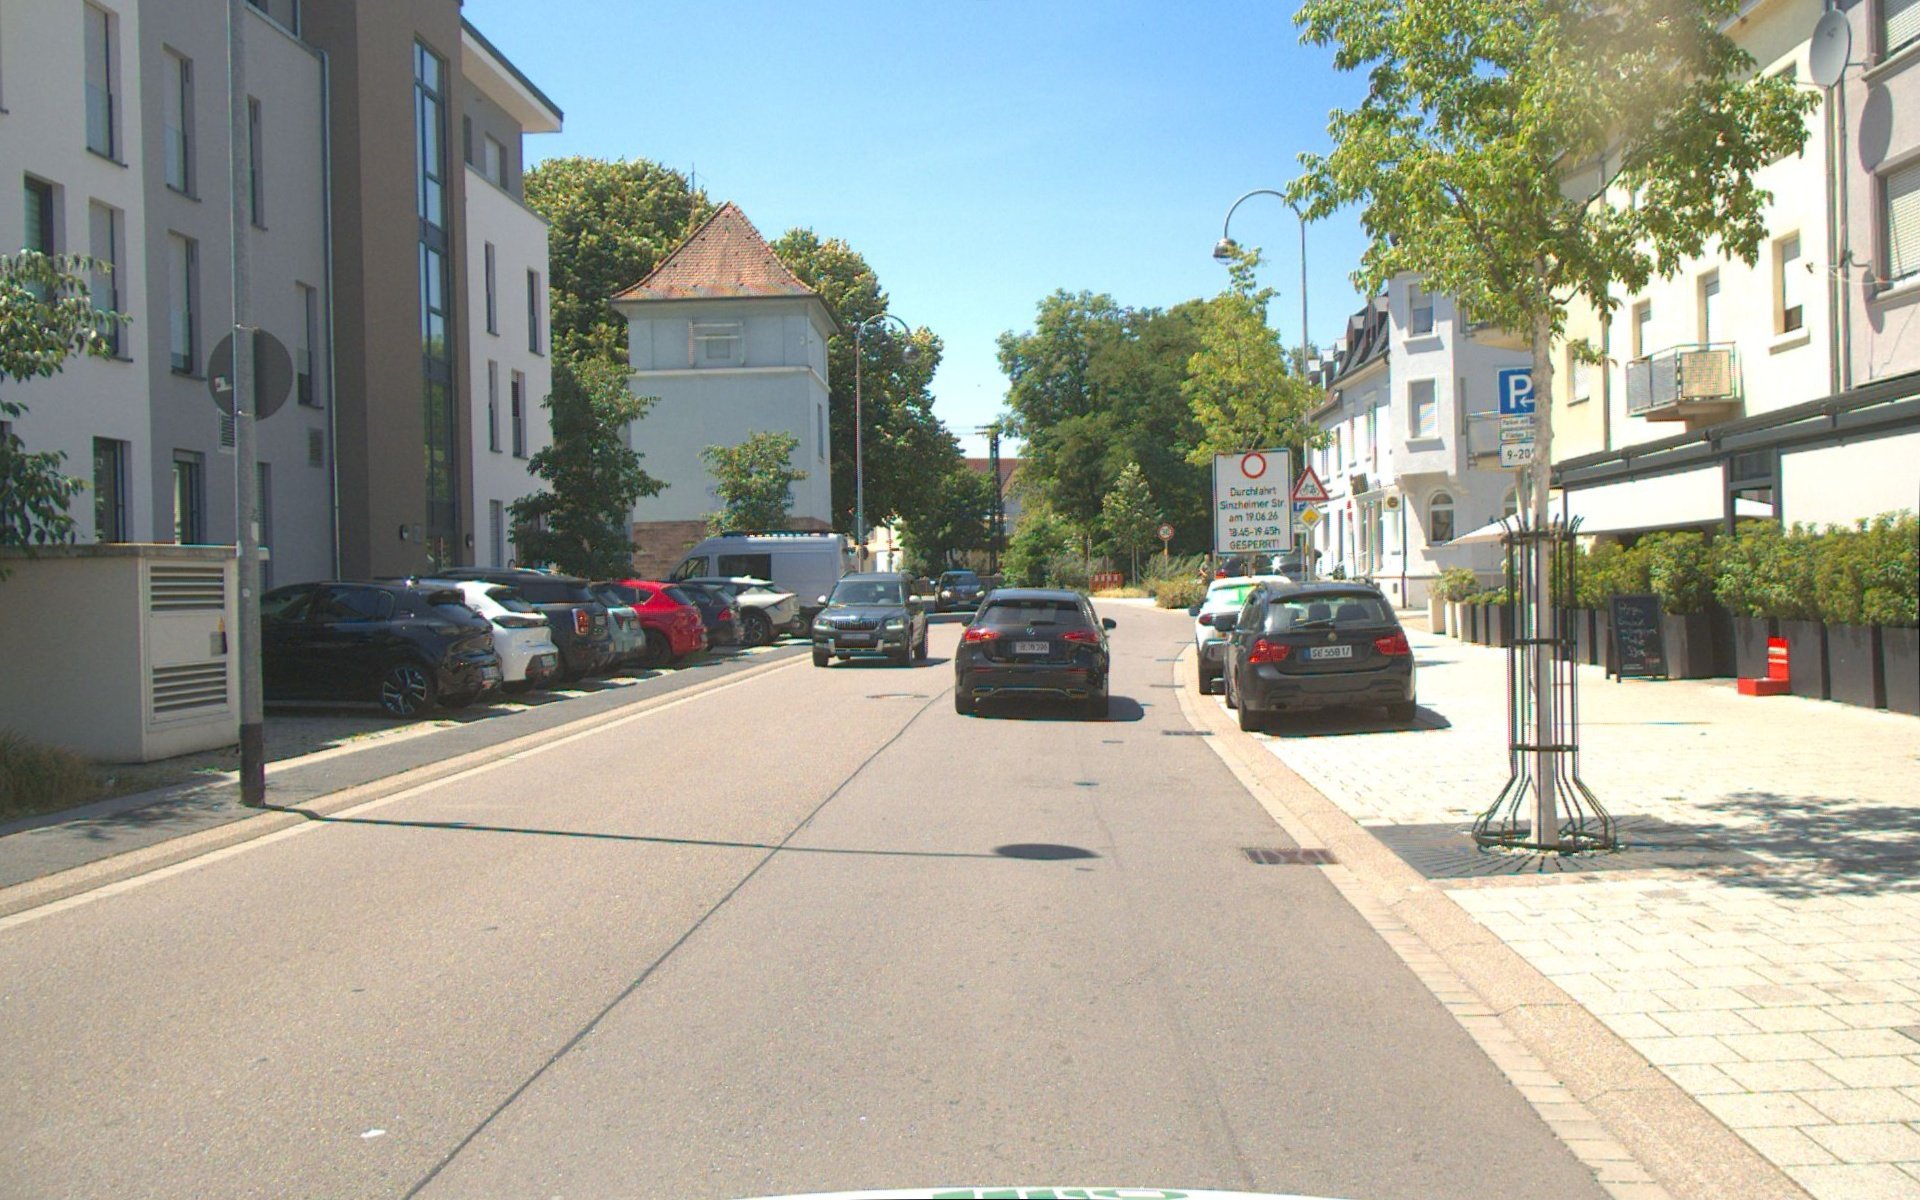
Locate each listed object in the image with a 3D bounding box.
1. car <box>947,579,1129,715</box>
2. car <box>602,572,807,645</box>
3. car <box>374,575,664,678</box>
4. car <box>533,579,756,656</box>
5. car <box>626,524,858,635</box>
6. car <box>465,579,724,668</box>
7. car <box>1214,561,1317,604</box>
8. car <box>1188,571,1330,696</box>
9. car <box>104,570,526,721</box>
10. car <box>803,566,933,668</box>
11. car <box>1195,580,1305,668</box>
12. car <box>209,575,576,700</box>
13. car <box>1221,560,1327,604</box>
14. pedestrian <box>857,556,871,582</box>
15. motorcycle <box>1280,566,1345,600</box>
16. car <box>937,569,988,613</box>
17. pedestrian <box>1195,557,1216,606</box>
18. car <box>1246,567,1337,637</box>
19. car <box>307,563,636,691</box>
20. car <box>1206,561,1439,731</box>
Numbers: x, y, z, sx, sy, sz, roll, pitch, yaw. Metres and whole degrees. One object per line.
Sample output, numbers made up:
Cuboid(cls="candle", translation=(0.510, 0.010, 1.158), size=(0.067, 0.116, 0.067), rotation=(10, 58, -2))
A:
Cuboid(cls="car", translation=(1.052, 0.540, 20.065), size=(1.789, 1.467, 4.003), rotation=(0, -1, 9))
Cuboid(cls="car", translation=(-5.866, 0.188, 38.358), size=(4.360, 1.619, 2.001), rotation=(0, 0, 3))
Cuboid(cls="car", translation=(-6.884, 0.388, 26.059), size=(3.947, 1.523, 2.001), rotation=(0, 0, 5))
Cuboid(cls="car", translation=(-6.259, 0.333, 33.163), size=(4.114, 1.463, 1.885), rotation=(0, 0, -1))
Cuboid(cls="car", translation=(-5.635, -0.524, 43.250), size=(5.646, 2.780, 2.293), rotation=(0, 0, 4))
Cuboid(cls="car", translation=(-6.274, 0.381, 28.700), size=(3.947, 1.455, 2.001), rotation=(0, 0, 5))
Cuboid(cls="car", translation=(12.793, -0.737, 69.376), size=(3.990, 1.746, 1.856), rotation=(0, 0, 1))
Cuboid(cls="car", translation=(4.121, 0.424, 23.179), size=(1.700, 1.512, 4.058), rotation=(-3, 0, 8))
Cuboid(cls="car", translation=(-7.094, 0.456, 18.480), size=(3.903, 1.542, 2.001), rotation=(0, 1, 3))
Cuboid(cls="car", translation=(-1.617, 0.272, 30.511), size=(1.772, 1.731, 4.079), rotation=(1, 0, 6))
Cuboid(cls="car", translation=(5.198, 0.389, 30.078), size=(1.687, 1.430, 4.612), rotation=(-2, 0, 7))
Cuboid(cls="car", translation=(-7.017, 0.439, 20.723), size=(3.903, 1.446, 1.911), rotation=(1, 0, 3))
Cuboid(cls="car", translation=(12.755, -0.736, 67.330), size=(3.990, 1.746, 1.856), rotation=(0, 0, 1))
Cuboid(cls="pedestrian", translation=(-6.565, -2.119, 112.684), size=(0.656, 1.771, 0.692), rotation=(-1, 0, -40))
Cuboid(cls="motorcycle", translation=(13.533, -0.647, 63.537), size=(2.327, 1.297, 0.856), rotation=(0, 1, 2))
Cuboid(cls="car", translation=(0.073, -0.366, 63.833), size=(1.855, 1.580, 4.798), rotation=(0, 1, -1))
Cuboid(cls="pedestrian", translation=(9.303, -0.714, 62.636), size=(0.730, 1.827, 0.844), rotation=(-1, 2, 10))
Cuboid(cls="car", translation=(8.285, 0.025, 41.123), size=(1.832, 1.517, 3.865), rotation=(-2, 2, 17))
Cuboid(cls="car", translation=(-6.785, 0.349, 23.235), size=(3.947, 1.680, 2.001), rotation=(0, 0, 5))
Cuboid(cls="car", translation=(3.710, 0.448, 17.615), size=(1.794, 1.508, 4.097), rotation=(-3, -1, 4))
